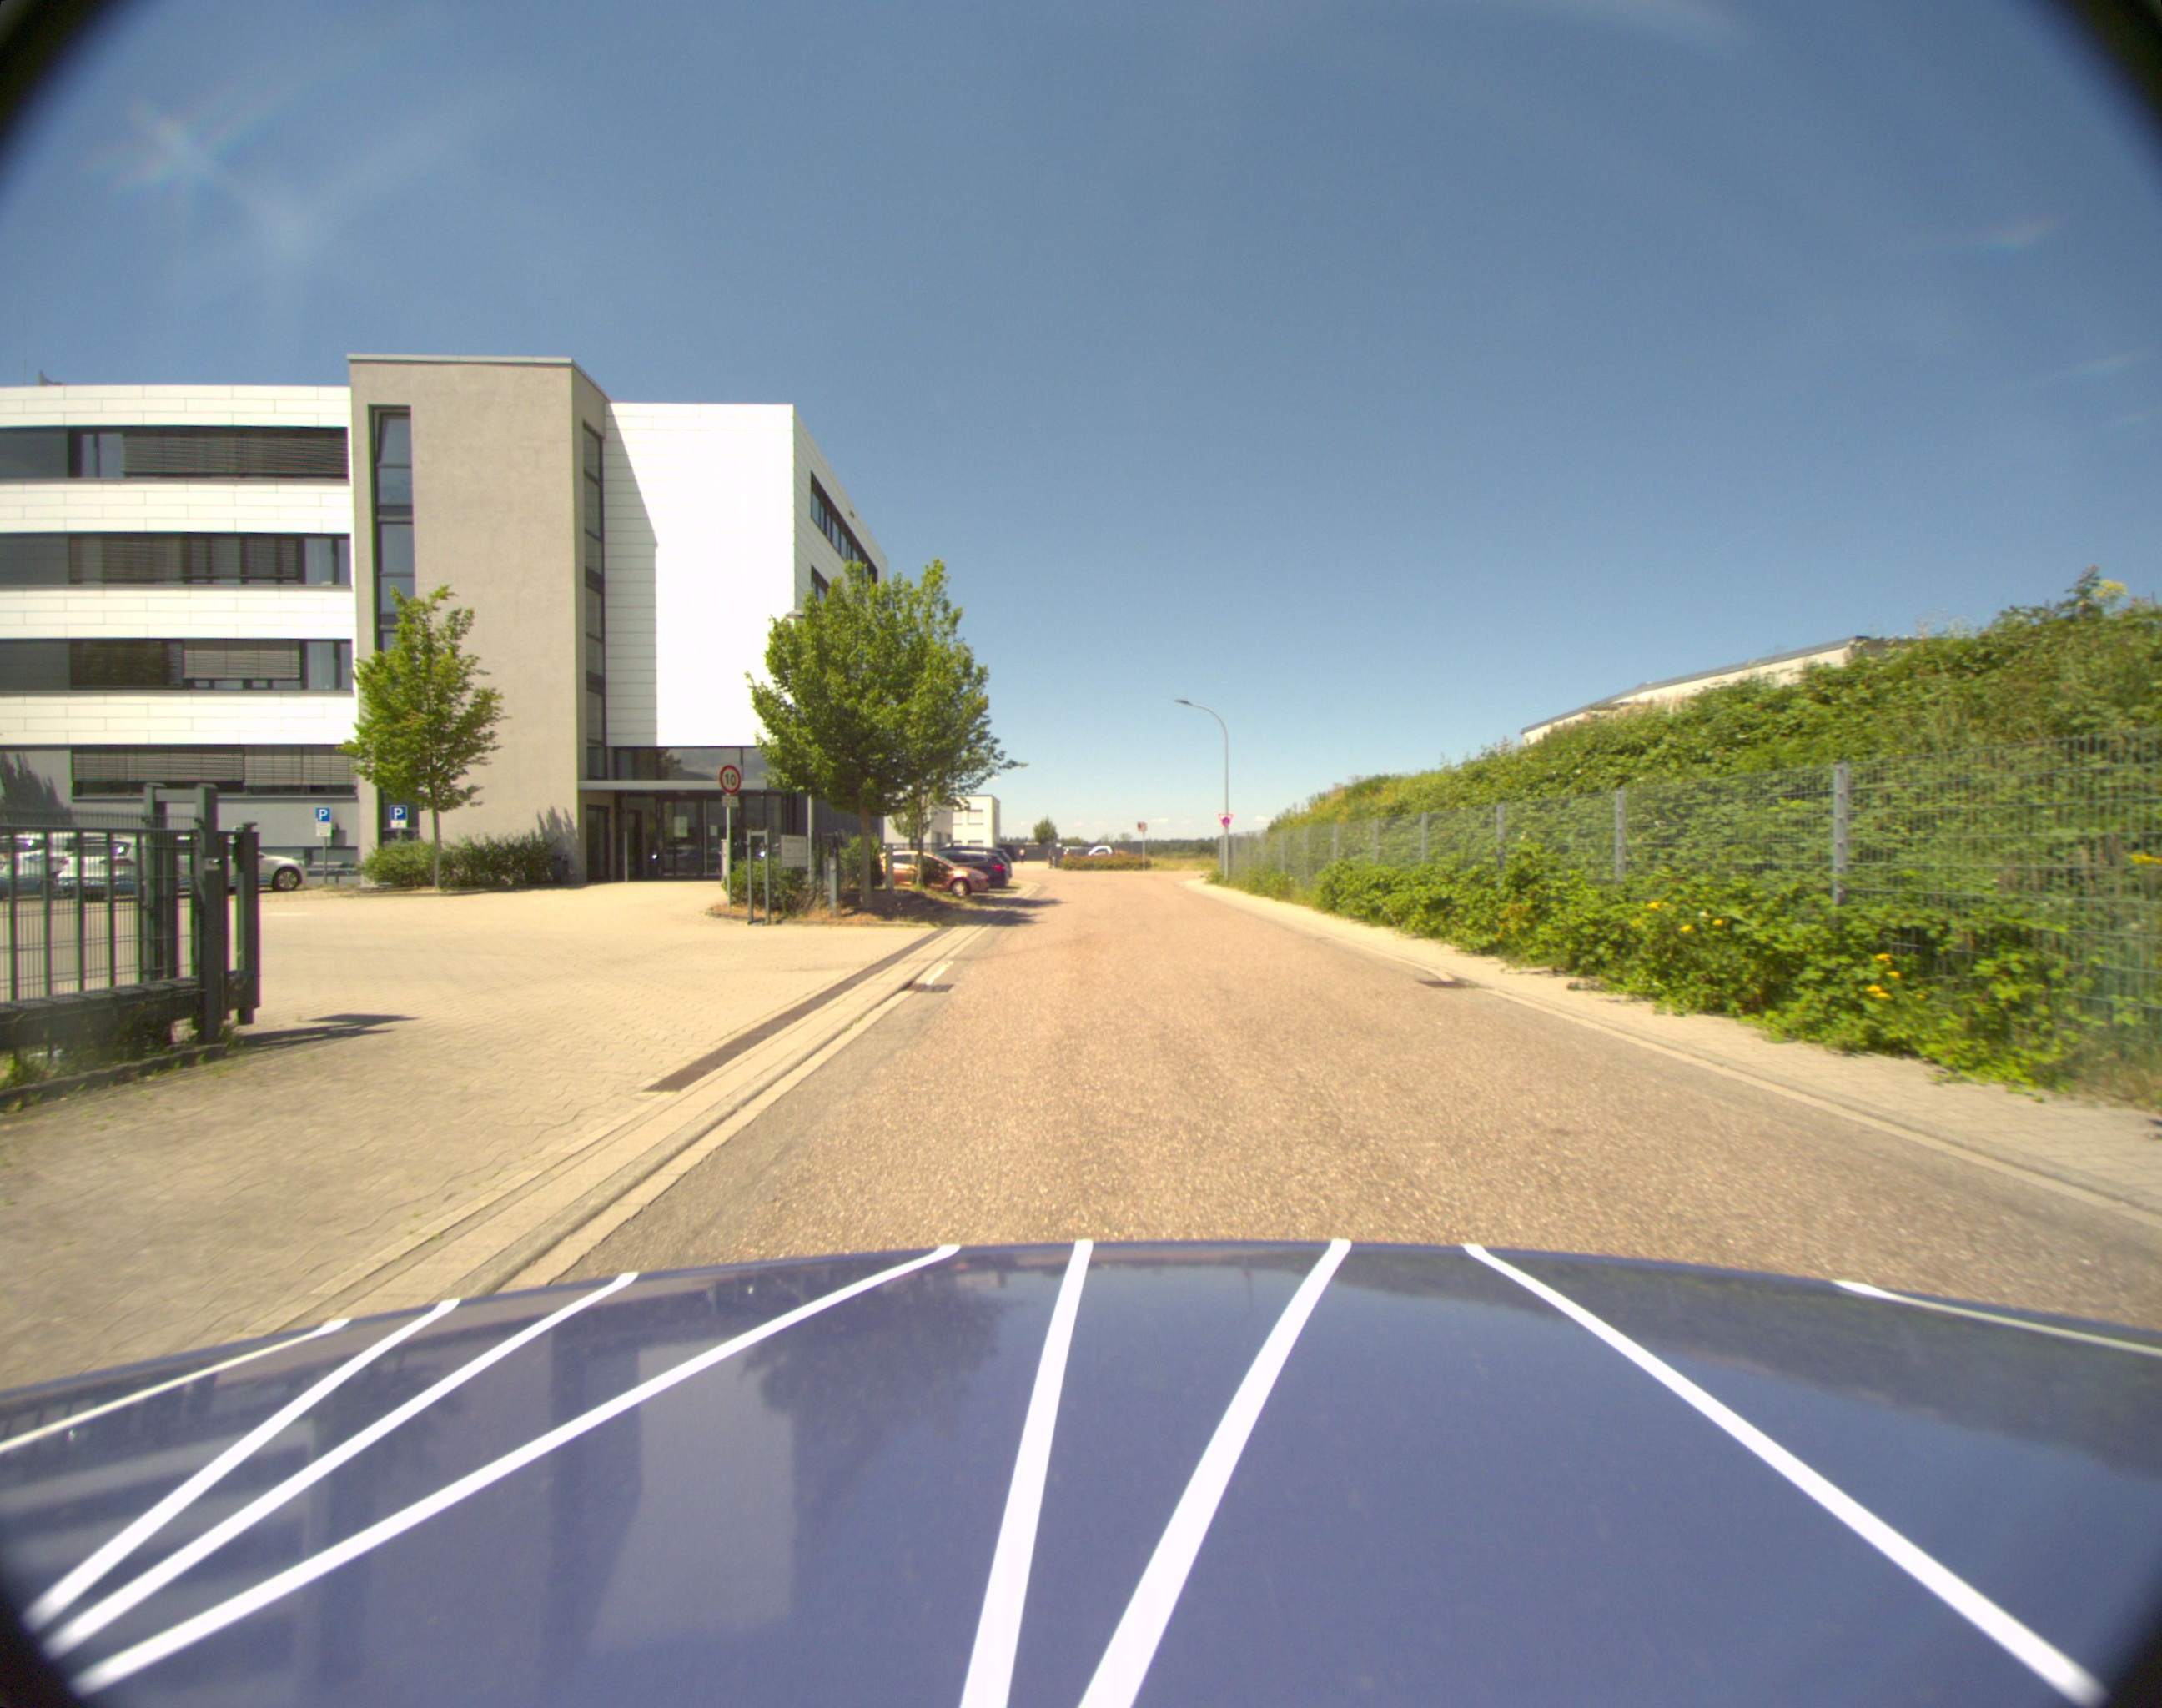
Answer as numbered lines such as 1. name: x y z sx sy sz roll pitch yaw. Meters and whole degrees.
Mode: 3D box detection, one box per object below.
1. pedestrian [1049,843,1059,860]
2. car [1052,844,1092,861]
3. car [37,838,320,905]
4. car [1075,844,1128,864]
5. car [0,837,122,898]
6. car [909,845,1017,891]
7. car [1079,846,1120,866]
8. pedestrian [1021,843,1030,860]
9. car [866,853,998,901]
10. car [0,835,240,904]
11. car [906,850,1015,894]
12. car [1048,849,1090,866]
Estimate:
1. pedestrian: -2.614 -0.241 73.276 0.830 1.673 0.711 0 1 -9
2. car: -0.918 -0.142 76.384 3.998 1.596 1.676 0 0 -3
3. car: -21.787 0.342 18.674 1.809 1.452 4.223 1 1 2
4. car: 1.578 -0.023 59.694 3.998 1.532 1.830 0 0 -3
5. car: -27.137 0.318 18.907 1.618 1.486 3.786 1 1 2
6. car: -4.675 0.541 30.504 3.996 1.755 1.725 1 1 3
7. car: 1.373 0.135 57.635 2.996 1.511 1.705 0 0 -3
8. pedestrian: -5.490 -0.267 74.882 0.775 1.619 0.621 0 1 -15
9. car: -4.790 0.728 24.874 3.998 1.486 1.724 1 0 -2
10. car: -24.335 0.306 18.984 1.809 1.521 4.223 1 1 2
11. car: -4.328 0.633 27.705 3.722 1.486 1.782 1 1 -2
12. car: -1.212 0.354 74.356 3.998 1.596 1.676 0 0 -3
